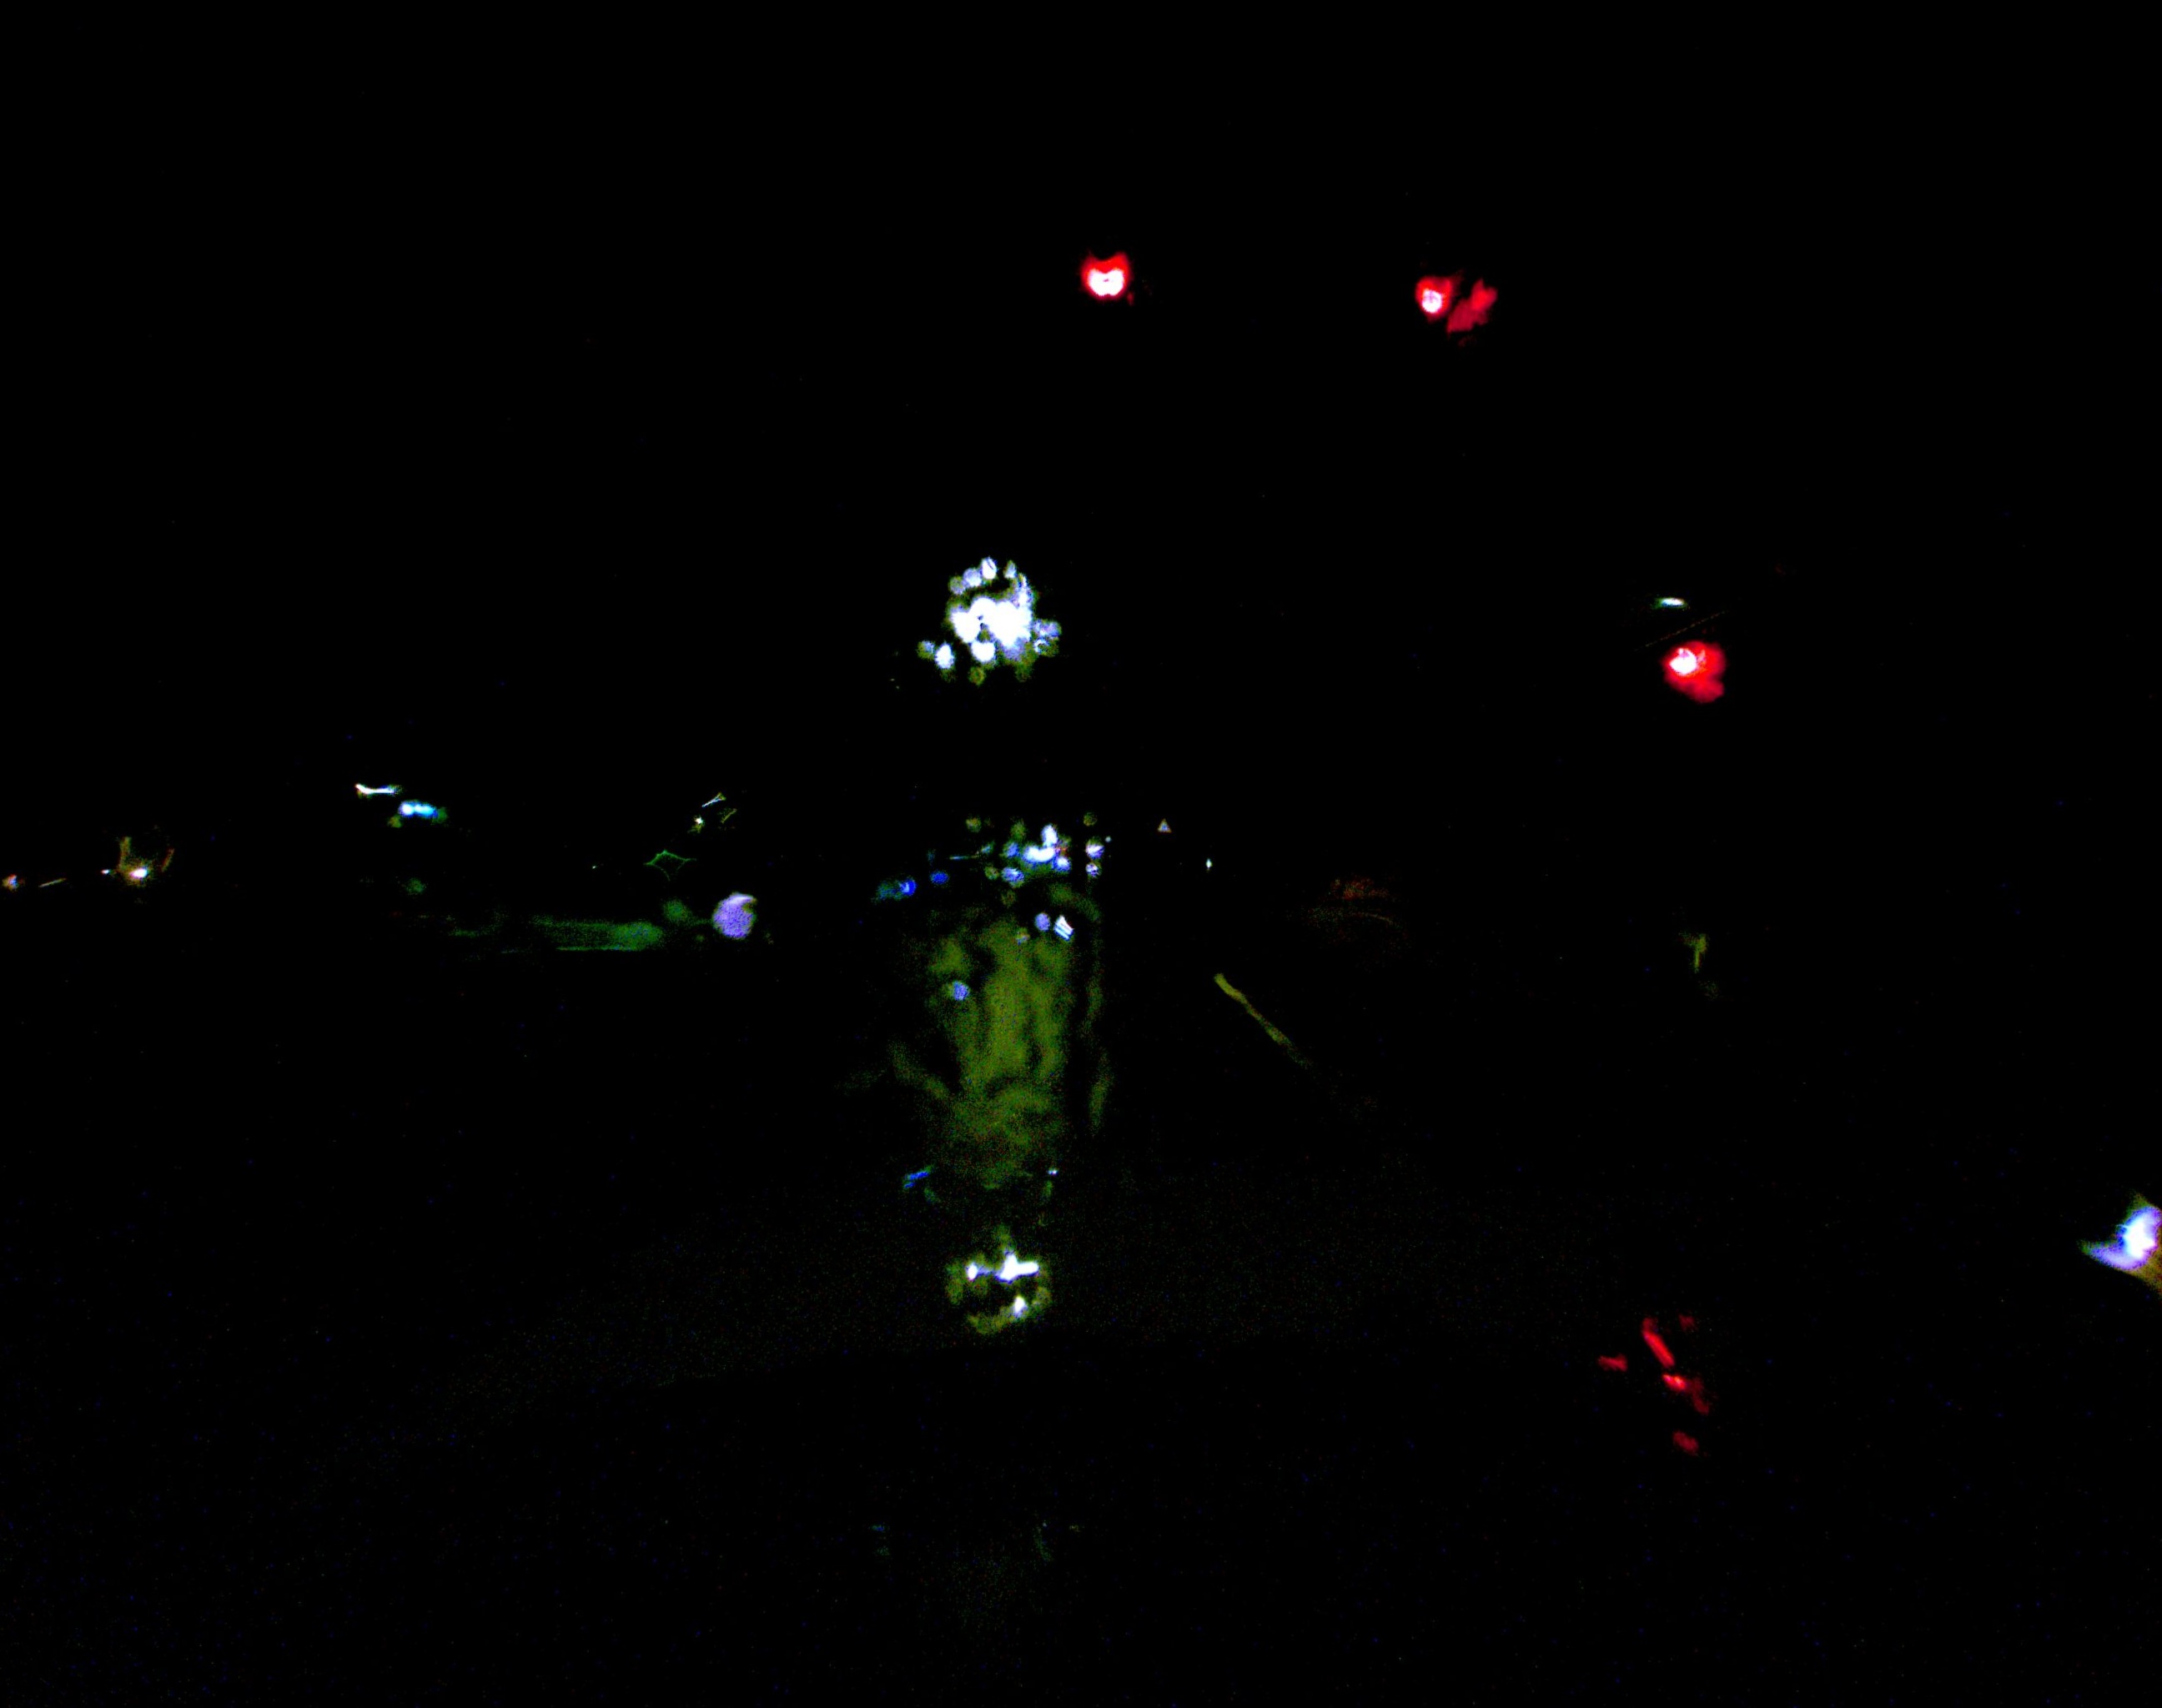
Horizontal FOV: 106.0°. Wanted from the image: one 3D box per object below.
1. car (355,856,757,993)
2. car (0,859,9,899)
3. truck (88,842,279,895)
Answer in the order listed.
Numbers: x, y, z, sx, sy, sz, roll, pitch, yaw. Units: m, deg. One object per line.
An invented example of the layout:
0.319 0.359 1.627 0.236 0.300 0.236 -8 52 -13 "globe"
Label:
-6.856 0.839 11.207 4.381 1.518 1.504 -1 0 -25 "car"
-41.323 0.939 28.841 1.721 1.519 3.988 0 0 -9 "car"
-41.718 0.649 38.157 1.985 2.271 6.027 0 0 4 "truck"
